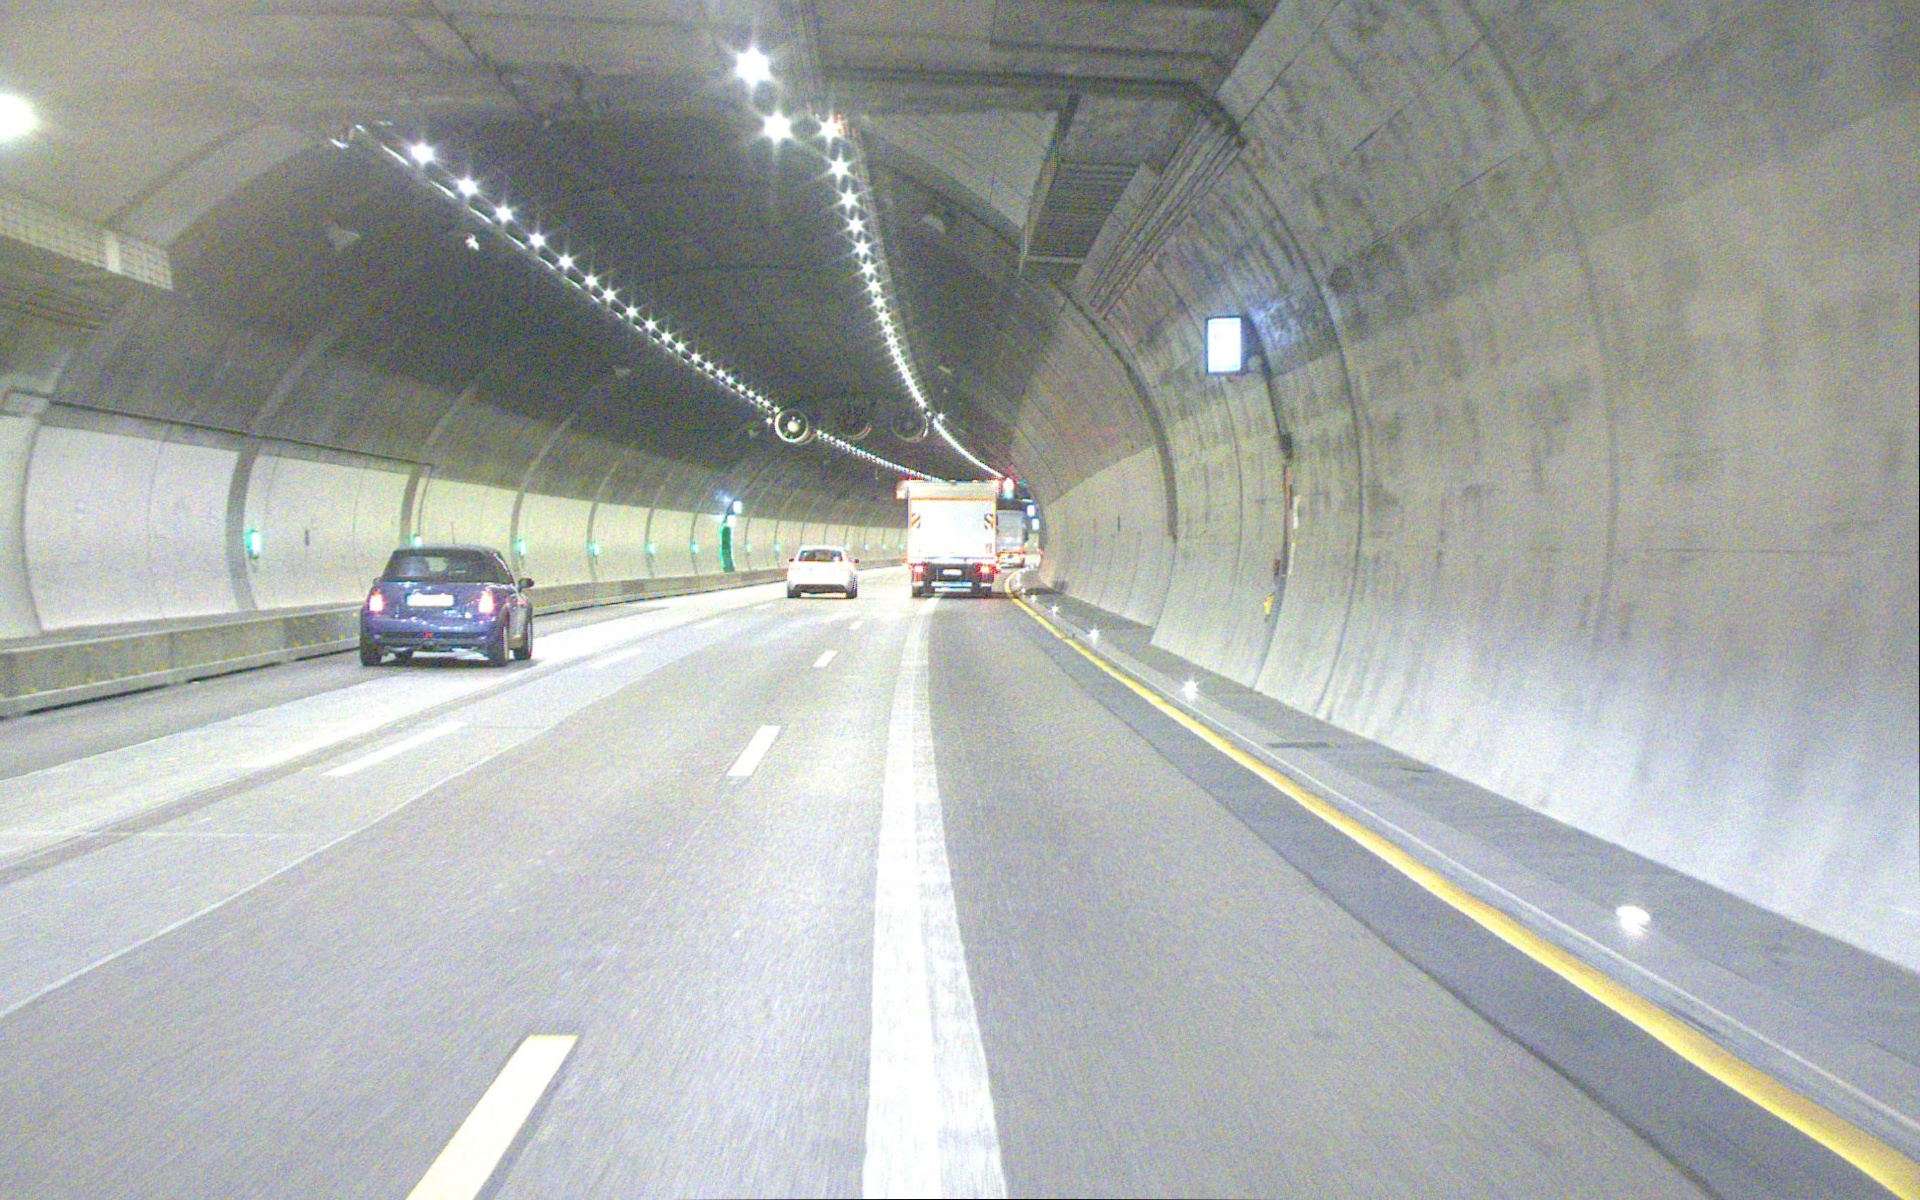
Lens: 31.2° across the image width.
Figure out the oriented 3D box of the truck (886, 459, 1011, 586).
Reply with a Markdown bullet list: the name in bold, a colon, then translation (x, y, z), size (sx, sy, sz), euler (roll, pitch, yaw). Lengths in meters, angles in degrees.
- **truck**: translation (-0.305, -2.314, 103.958), size (3.592, 3.638, 10.723), euler (0, 1, 0)

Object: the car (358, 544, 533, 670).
- **car**: translation (-6.076, 0.047, 40.923), size (1.689, 1.412, 3.923), euler (0, 1, -3)

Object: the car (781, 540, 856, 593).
- **car**: translation (-3.944, -0.950, 95.166), size (1.993, 1.408, 4.743), euler (0, 1, -3)
